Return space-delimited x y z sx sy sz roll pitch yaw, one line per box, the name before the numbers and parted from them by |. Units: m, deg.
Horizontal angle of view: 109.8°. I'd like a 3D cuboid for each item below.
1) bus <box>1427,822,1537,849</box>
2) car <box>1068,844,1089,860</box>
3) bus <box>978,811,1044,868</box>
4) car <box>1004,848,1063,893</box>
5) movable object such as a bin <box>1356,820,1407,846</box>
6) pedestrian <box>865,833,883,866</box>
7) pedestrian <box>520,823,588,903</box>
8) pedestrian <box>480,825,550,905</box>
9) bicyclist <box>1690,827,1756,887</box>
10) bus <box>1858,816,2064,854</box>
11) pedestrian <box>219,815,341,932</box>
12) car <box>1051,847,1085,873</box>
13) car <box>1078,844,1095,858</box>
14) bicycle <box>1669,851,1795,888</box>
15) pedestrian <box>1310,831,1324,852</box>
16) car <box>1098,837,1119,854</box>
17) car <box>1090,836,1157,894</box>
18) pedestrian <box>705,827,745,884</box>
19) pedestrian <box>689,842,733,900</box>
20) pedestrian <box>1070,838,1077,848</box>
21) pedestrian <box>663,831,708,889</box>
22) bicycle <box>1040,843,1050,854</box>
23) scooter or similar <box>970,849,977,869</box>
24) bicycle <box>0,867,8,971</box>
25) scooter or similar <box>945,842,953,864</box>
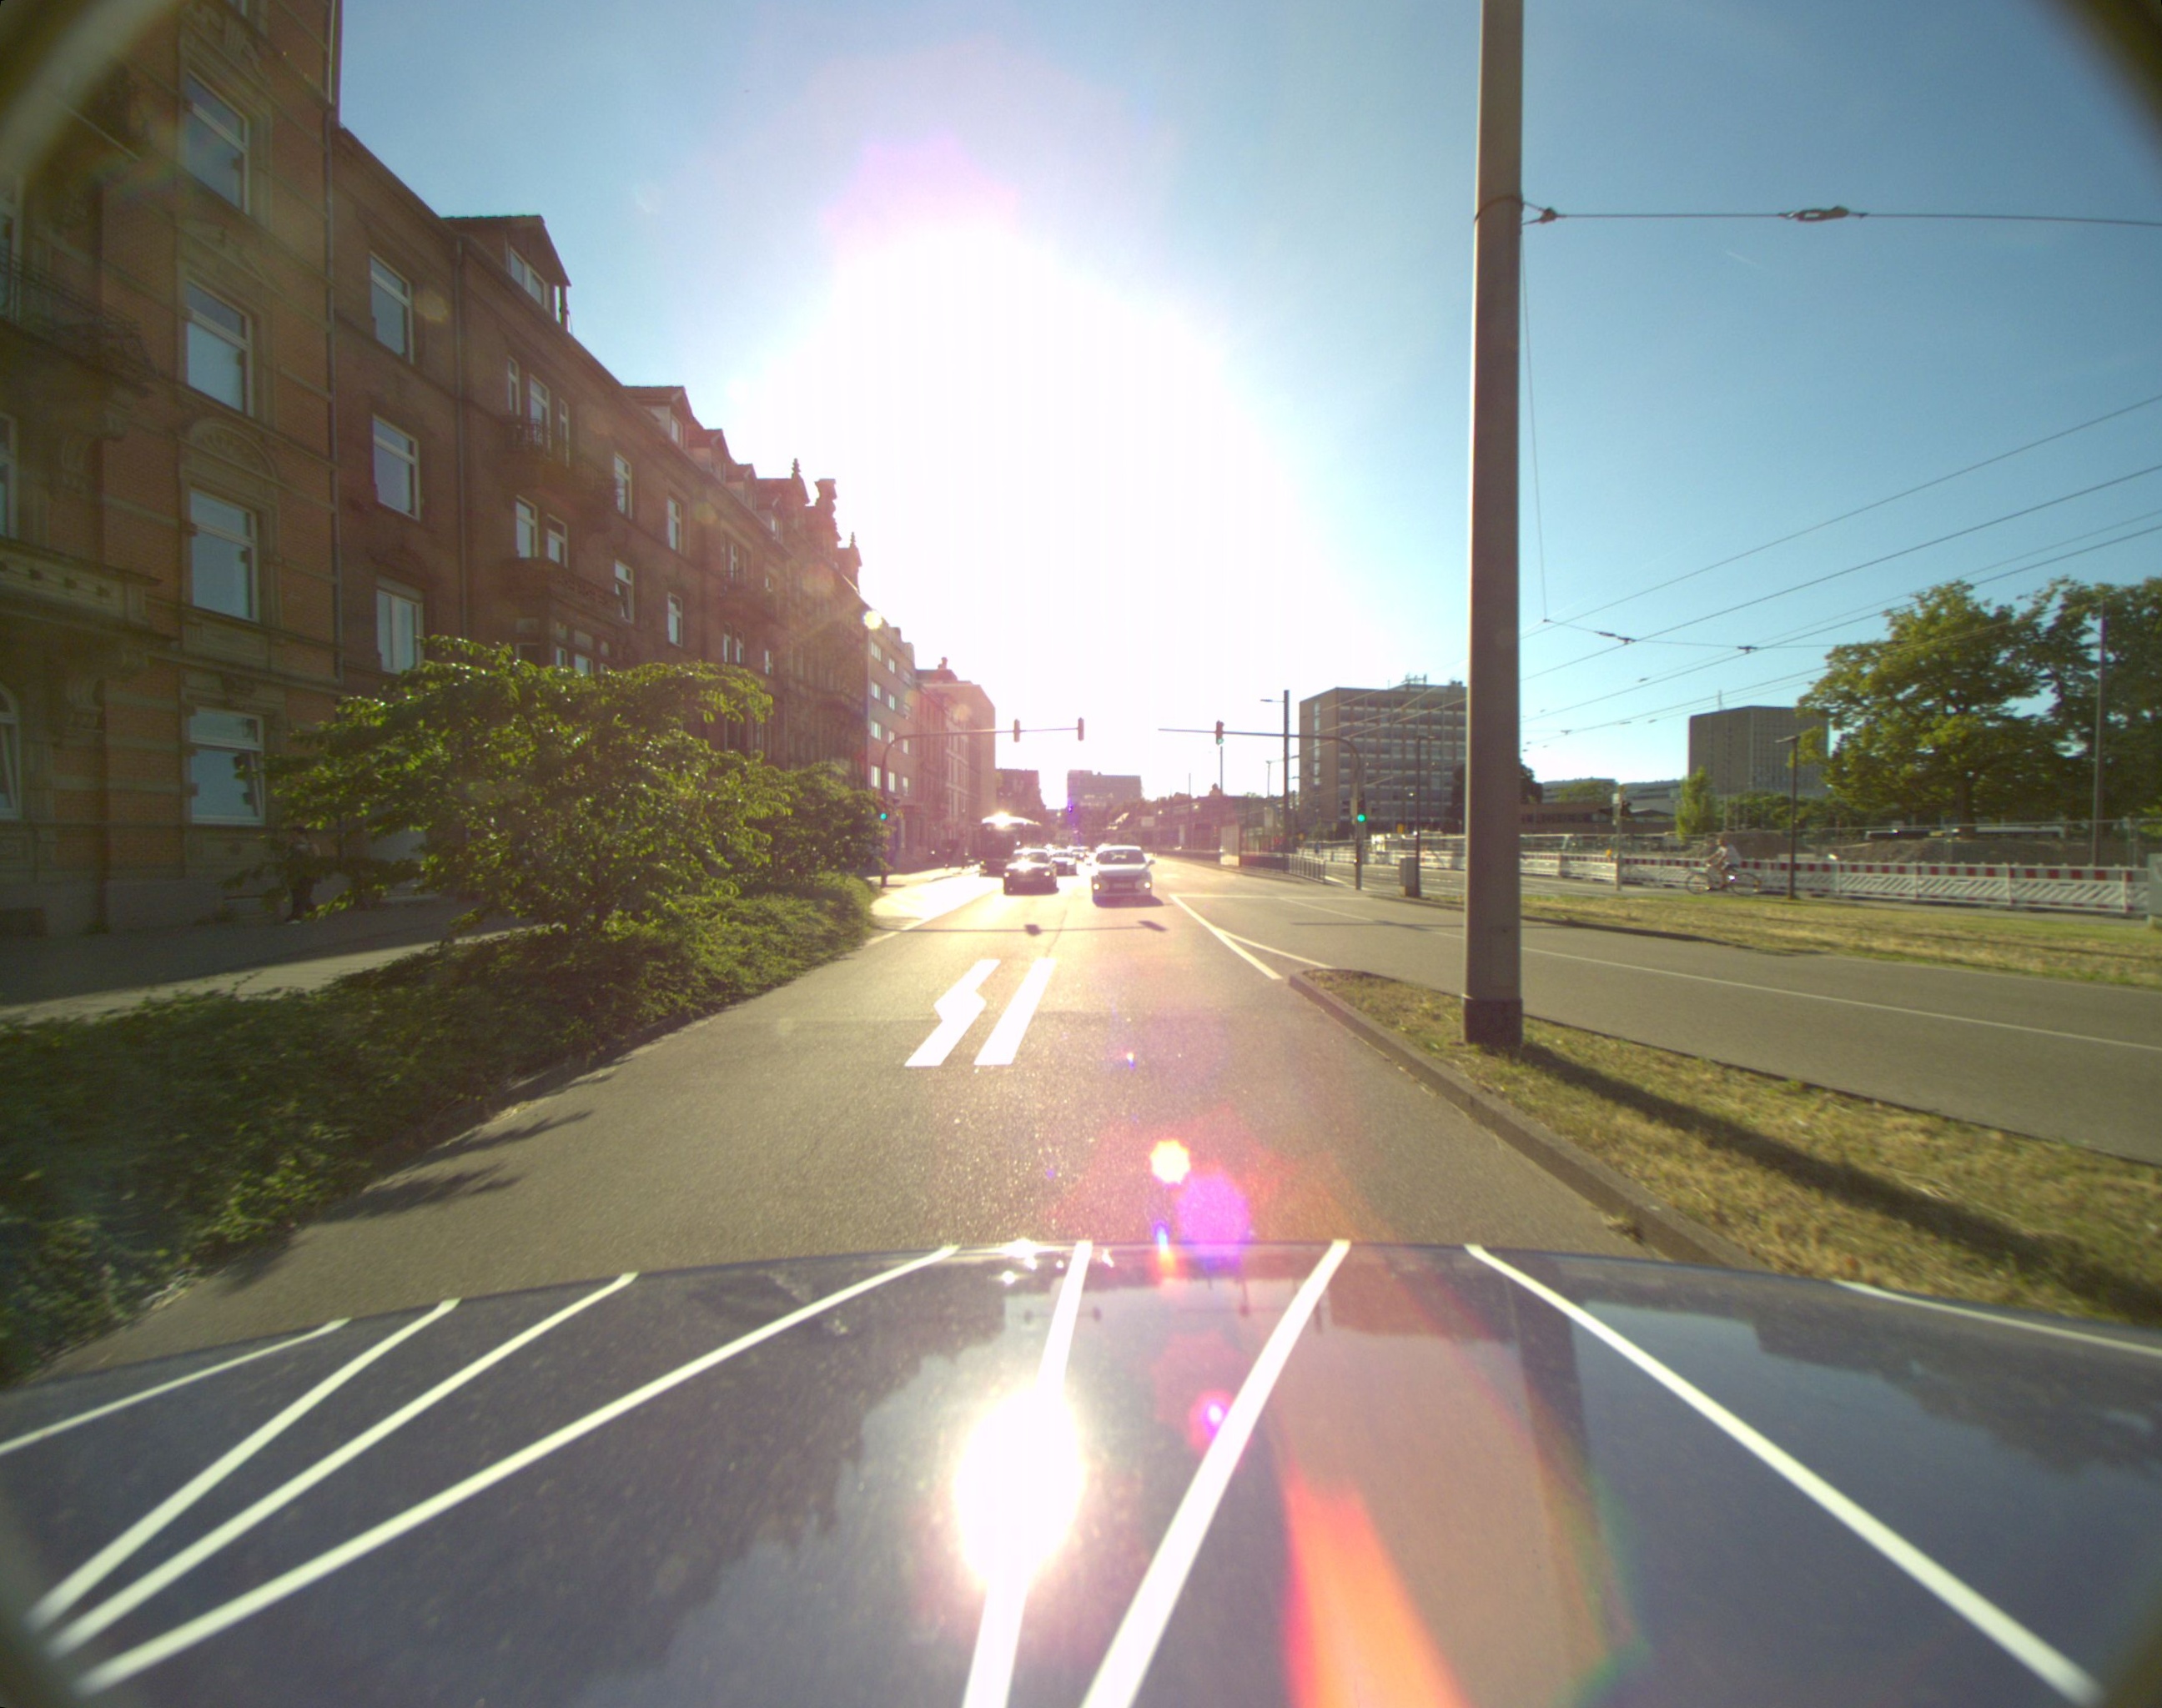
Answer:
bus | 53.251 -2.418 101.412 2.848 3.174 12.624 2 -2 -45
car | -0.196 -0.249 73.677 1.783 1.456 3.915 0 2 4
bus | -4.255 -0.936 49.197 2.721 3.163 12.539 1 1 1
car | -1.616 0.535 26.840 1.694 1.380 3.831 -2 1 2
movable object such as a bin | 32.786 -2.230 83.069 2.637 2.510 5.163 2 -1 -16
pedestrian | -11.800 -0.233 43.320 0.854 1.822 0.779 1 -1 -4
pedestrian | -12.960 0.206 18.720 0.824 1.919 1.136 0 2 1
pedestrian | -13.959 0.258 18.780 0.824 1.919 1.136 0 2 1
bicyclist | 20.088 0.107 23.800 0.967 1.798 1.316 1 -1 -31
bus | 82.892 -1.649 72.240 3.259 3.174 12.624 2 -2 -45
pedestrian | -13.656 0.312 13.003 0.824 1.919 1.136 0 2 1
car | -0.752 0.292 42.966 1.825 1.380 4.456 1 1 -1
car | 0.682 -0.371 95.635 1.999 1.673 4.000 1 -1 -2
bicycle | 20.175 0.489 23.648 0.967 1.090 2.817 1 -2 -31
pedestrian | 19.929 -1.060 64.142 0.804 1.758 1.180 1 -1 1
car | 2.891 -0.888 80.912 1.999 1.667 4.281 2 2 0
car | 1.157 0.250 21.655 1.720 1.484 3.870 -1 1 2
pedestrian | -12.336 0.036 26.374 0.824 1.919 1.136 0 2 1
pedestrian | -10.750 0.467 22.112 0.704 1.646 1.136 0 2 1
pedestrian | -1.216 -1.819 124.452 0.796 1.718 0.868 -1 2 -30
pedestrian | -11.504 0.152 22.142 0.704 1.646 1.136 0 2 1
bicycle | -3.718 -0.544 78.396 0.470 1.140 1.767 -1 0 -22
scooter or similar | -7.038 0.341 49.950 0.432 1.242 1.293 1 2 -8
bicycle | -13.697 0.759 8.635 1.890 1.232 0.490 1 3 -11
scooter or similar | -7.868 -0.071 45.323 0.433 1.242 1.293 1 2 -10
